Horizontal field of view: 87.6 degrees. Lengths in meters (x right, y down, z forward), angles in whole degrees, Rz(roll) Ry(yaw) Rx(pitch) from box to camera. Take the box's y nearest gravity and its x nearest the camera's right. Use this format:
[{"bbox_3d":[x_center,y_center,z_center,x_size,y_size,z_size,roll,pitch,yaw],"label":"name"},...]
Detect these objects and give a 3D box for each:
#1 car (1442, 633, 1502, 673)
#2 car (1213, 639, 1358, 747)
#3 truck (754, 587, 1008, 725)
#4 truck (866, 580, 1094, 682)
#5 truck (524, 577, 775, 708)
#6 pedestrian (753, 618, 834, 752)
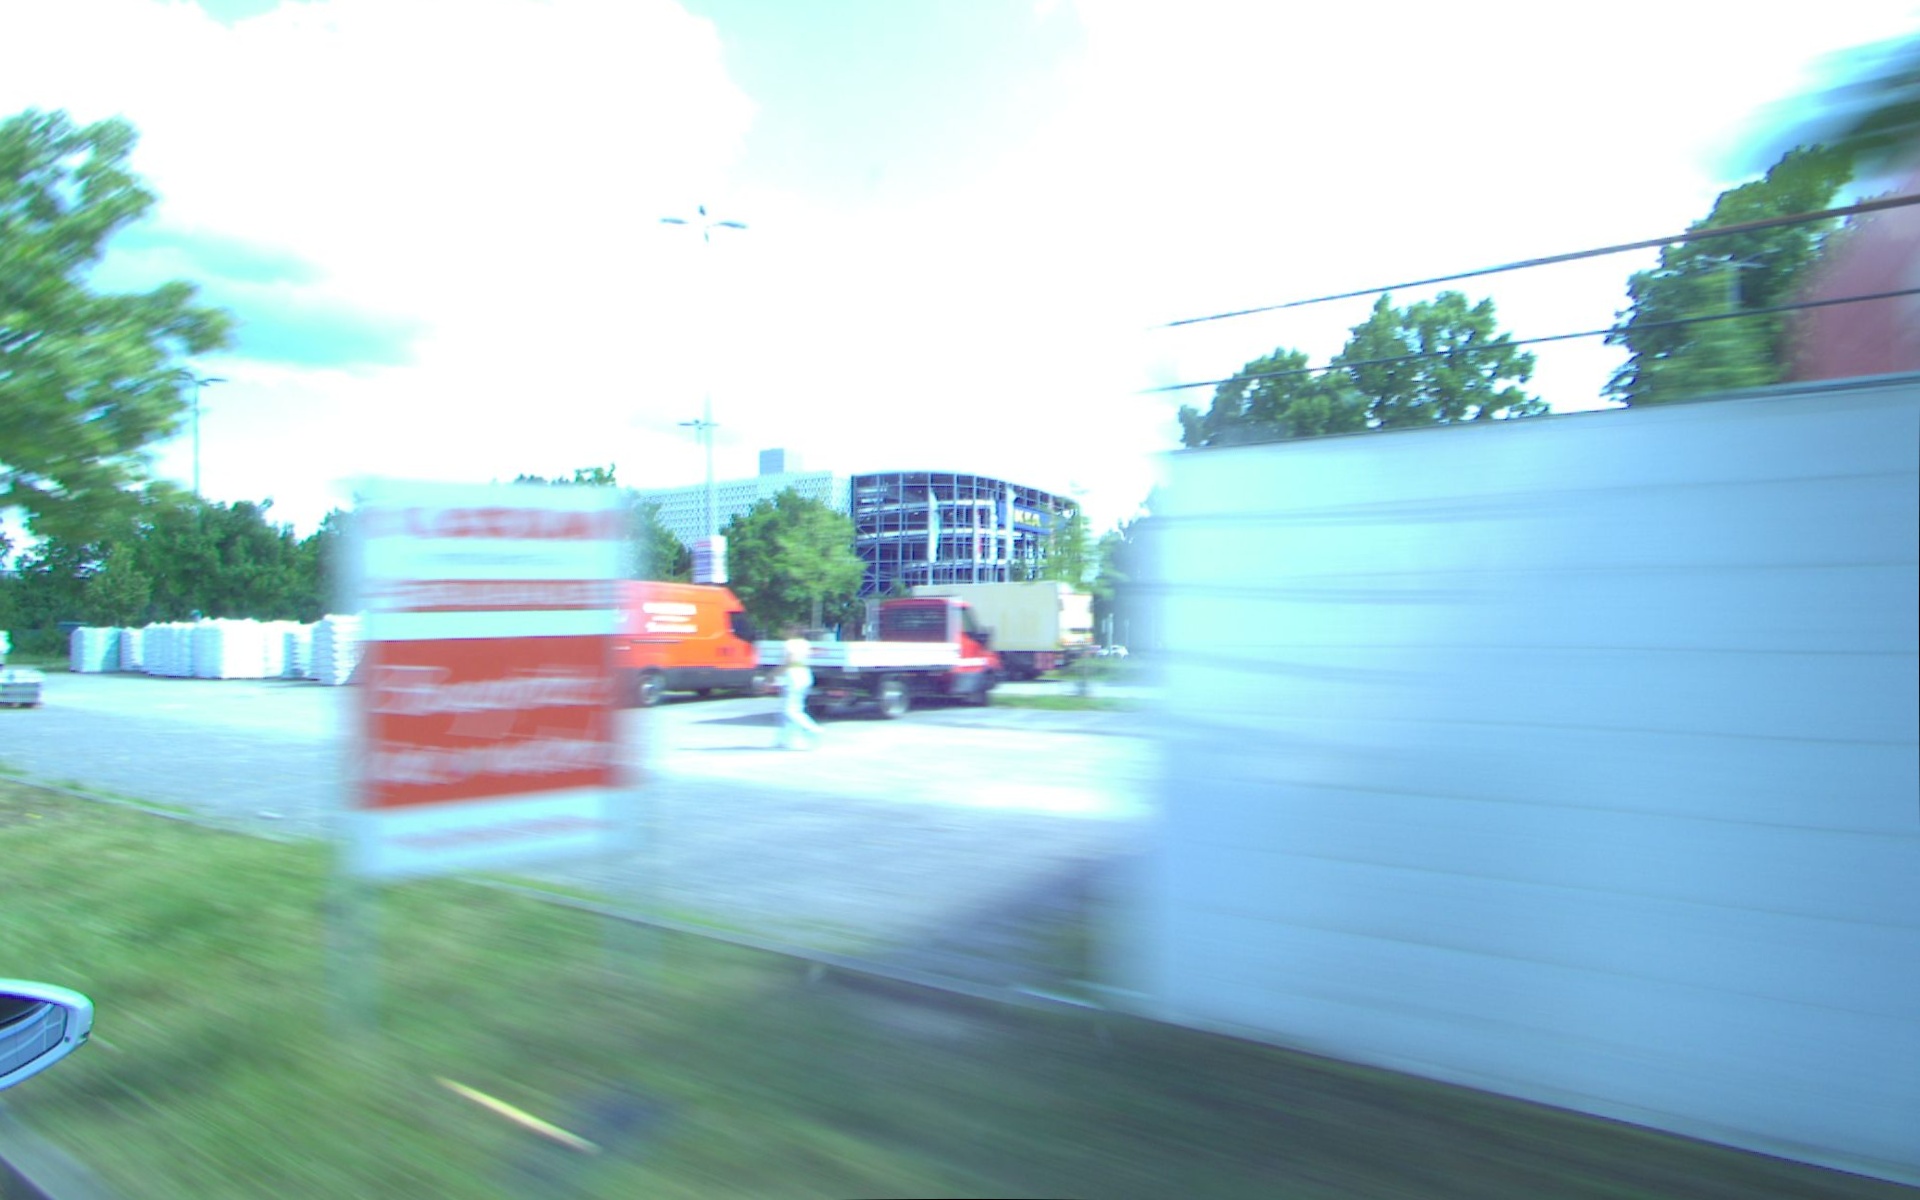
[{"bbox_3d":[22.800,2.325,44.537,1.878,1.677,3.467,-2,-2,35],"label":"car"},{"bbox_3d":[5.260,1.359,15.859,1.593,1.432,4.132,-1,-2,26],"label":"car"},{"bbox_3d":[-1.295,1.033,19.696,2.140,2.284,5.840,-1,-2,29],"label":"truck"},{"bbox_3d":[0.624,1.192,39.195,8.912,3.645,2.715,-1,-1,34],"label":"truck"},{"bbox_3d":[-6.692,0.926,22.350,2.084,2.547,5.423,0,-2,29],"label":"truck"},{"bbox_3d":[-2.206,1.105,13.253,0.867,1.713,0.597,-2,-2,34],"label":"pedestrian"}]
